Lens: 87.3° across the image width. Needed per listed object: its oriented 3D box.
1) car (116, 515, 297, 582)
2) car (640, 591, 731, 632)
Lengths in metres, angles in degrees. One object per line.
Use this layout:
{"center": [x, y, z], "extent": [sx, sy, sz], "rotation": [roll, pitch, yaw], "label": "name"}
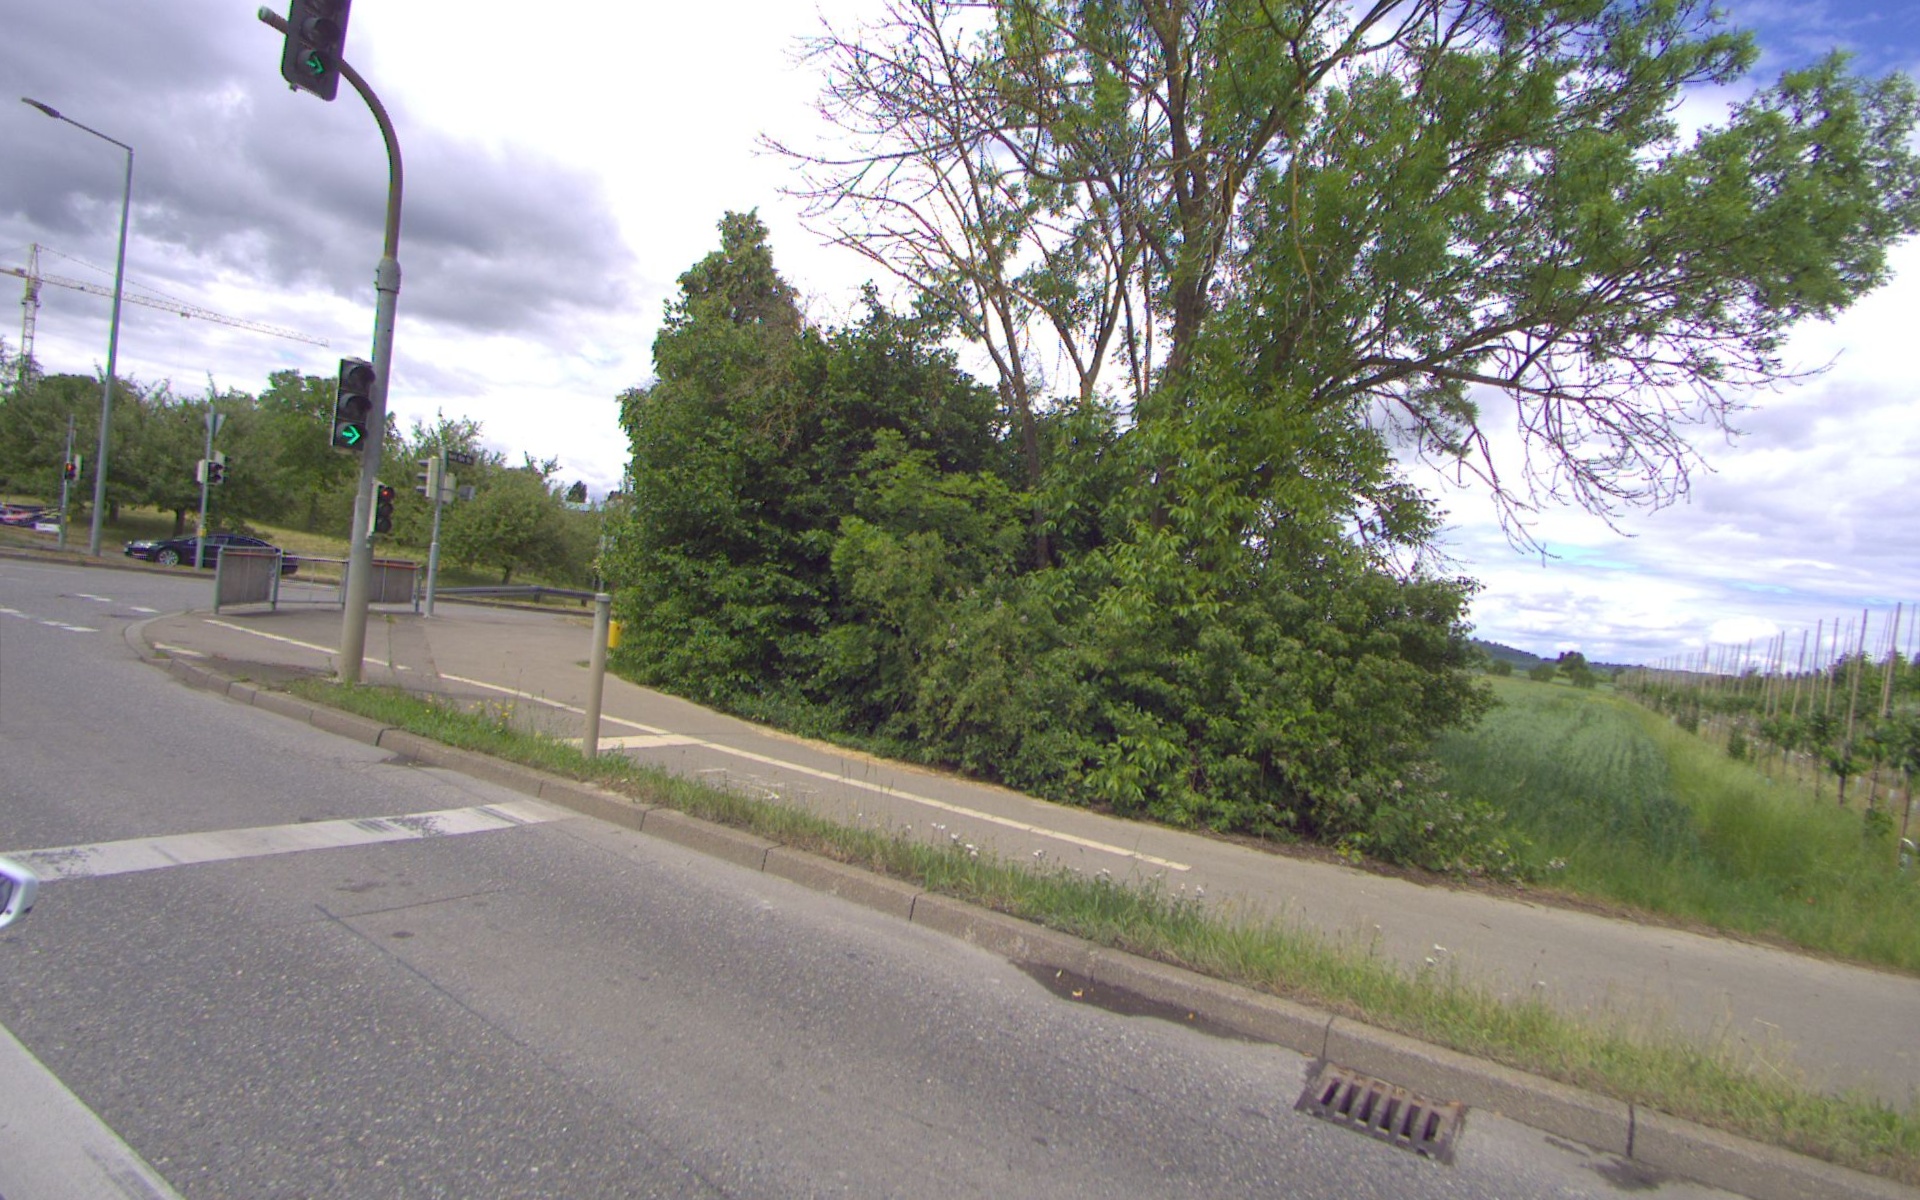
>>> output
{"center": [-25.501, -1.708, 34.192], "extent": [1.970, 1.584, 4.456], "rotation": [7, -1, 37], "label": "car"}
{"center": [-13.443, 0.598, 49.476], "extent": [1.736, 1.463, 3.875], "rotation": [6, -3, 42], "label": "car"}
